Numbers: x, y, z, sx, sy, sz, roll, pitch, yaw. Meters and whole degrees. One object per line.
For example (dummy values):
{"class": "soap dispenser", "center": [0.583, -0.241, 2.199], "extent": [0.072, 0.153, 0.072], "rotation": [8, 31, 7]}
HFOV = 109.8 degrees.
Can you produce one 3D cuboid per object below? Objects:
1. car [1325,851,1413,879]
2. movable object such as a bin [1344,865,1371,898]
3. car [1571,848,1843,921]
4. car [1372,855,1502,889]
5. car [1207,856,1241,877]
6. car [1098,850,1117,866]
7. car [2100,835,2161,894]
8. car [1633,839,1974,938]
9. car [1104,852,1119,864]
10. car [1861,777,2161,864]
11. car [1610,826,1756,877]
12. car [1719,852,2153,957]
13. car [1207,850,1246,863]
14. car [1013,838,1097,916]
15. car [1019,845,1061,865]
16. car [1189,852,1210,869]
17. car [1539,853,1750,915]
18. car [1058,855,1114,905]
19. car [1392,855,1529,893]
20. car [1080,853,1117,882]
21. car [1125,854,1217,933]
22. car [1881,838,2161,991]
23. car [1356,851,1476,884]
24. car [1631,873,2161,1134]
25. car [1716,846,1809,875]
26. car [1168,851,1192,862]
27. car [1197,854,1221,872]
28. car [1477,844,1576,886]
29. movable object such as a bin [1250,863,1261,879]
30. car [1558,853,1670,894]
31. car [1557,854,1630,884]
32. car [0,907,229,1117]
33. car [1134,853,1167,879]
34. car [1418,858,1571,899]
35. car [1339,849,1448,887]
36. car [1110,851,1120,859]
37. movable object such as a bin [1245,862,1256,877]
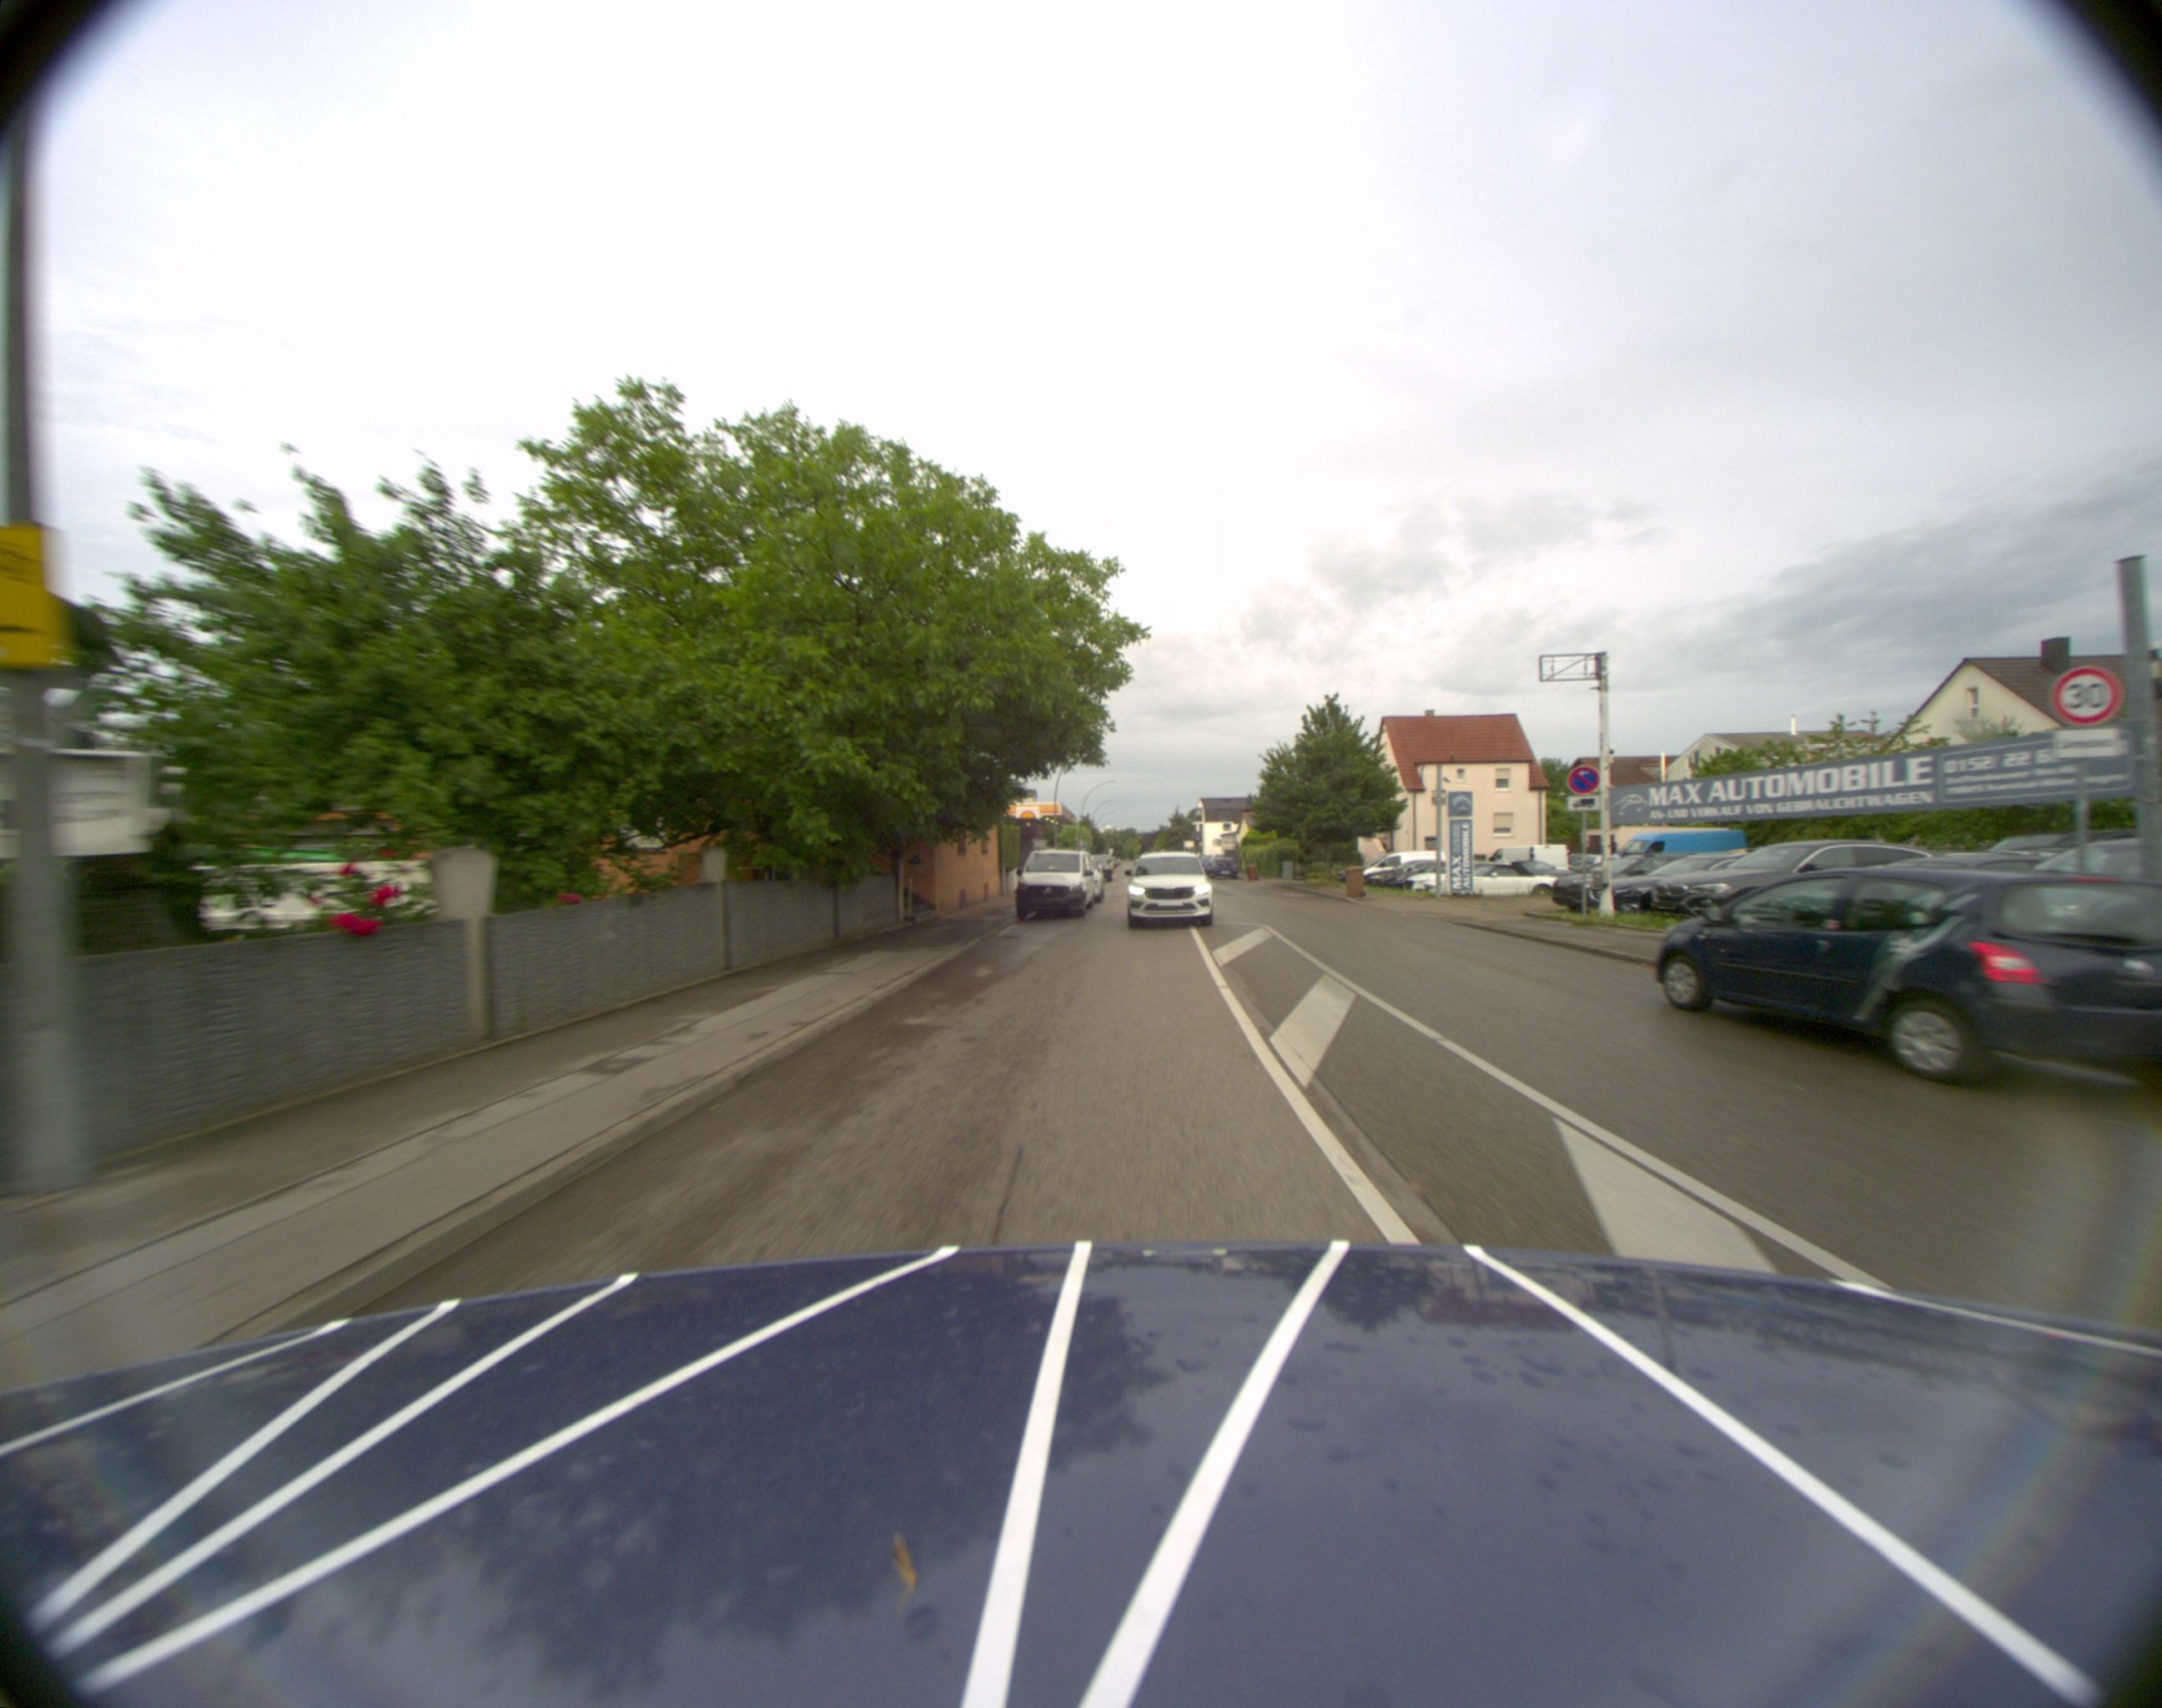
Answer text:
{"class": "car", "center": [15.027, 0.547, 39.727], "extent": [3.921, 1.364, 1.761], "rotation": [-1, 1, -1]}
{"class": "movable object such as a bin", "center": [9.855, 0.977, 27.115], "extent": [0.709, 1.123, 0.735], "rotation": [-2, 1, 4]}
{"class": "car", "center": [13.758, 0.642, 16.930], "extent": [4.357, 1.455, 1.942], "rotation": [-1, 0, 4]}
{"class": "car", "center": [14.856, 0.742, 31.898], "extent": [4.568, 1.302, 1.889], "rotation": [-1, 0, 3]}
{"class": "car", "center": [9.819, 0.845, 52.386], "extent": [1.811, 1.395, 3.945], "rotation": [0, 0, 3]}
{"class": "car", "center": [2.512, 0.385, 71.173], "extent": [1.660, 1.393, 3.802], "rotation": [-1, 0, 3]}
{"class": "car", "center": [30.394, 0.251, 20.285], "extent": [3.742, 1.562, 1.788], "rotation": [-1, 0, 5]}
{"class": "car", "center": [13.384, 0.613, 14.359], "extent": [4.357, 1.681, 2.059], "rotation": [-1, 0, 4]}
{"class": "car", "center": [4.149, 0.496, 103.810], "extent": [1.998, 1.586, 4.001], "rotation": [0, 0, 2]}
{"class": "car", "center": [18.593, -0.593, 15.369], "extent": [1.695, 1.521, 4.001], "rotation": [0, 0, 4]}
{"class": "car", "center": [30.590, -0.119, 38.775], "extent": [5.683, 2.361, 2.047], "rotation": [-2, 1, 3]}
{"class": "car", "center": [12.979, 0.730, 11.819], "extent": [4.357, 1.423, 1.960], "rotation": [-1, 0, 4]}
{"class": "car", "center": [16.784, 0.281, 87.744], "extent": [4.094, 1.505, 1.883], "rotation": [-1, 0, -1]}
{"class": "car", "center": [-0.631, 0.642, 22.515], "extent": [1.781, 2.017, 4.756], "rotation": [-2, -1, 6]}
{"class": "car", "center": [-5.142, 0.136, 95.161], "extent": [4.808, 2.506, 2.244], "rotation": [-1, 0, -18]}
{"class": "car", "center": [11.001, 0.609, 70.743], "extent": [1.612, 1.497, 3.708], "rotation": [0, 0, 3]}
{"class": "car", "center": [14.337, 0.733, 19.523], "extent": [3.996, 1.455, 1.840], "rotation": [-1, 0, 4]}
{"class": "car", "center": [0.258, 0.917, 28.700], "extent": [1.870, 1.655, 4.321], "rotation": [-2, 0, 3]}
{"class": "car", "center": [14.701, 0.770, 29.609], "extent": [4.386, 1.366, 1.889], "rotation": [-1, 0, 3]}
{"class": "car", "center": [1.170, 0.845, 48.486], "extent": [2.095, 1.652, 4.561], "rotation": [-2, -1, 4]}
{"class": "car", "center": [2.009, 0.836, 18.184], "extent": [1.883, 1.650, 4.832], "rotation": [0, 0, 3]}
{"class": "car", "center": [13.162, 0.656, 9.370], "extent": [4.357, 1.680, 1.960], "rotation": [-1, 0, 4]}
{"class": "car", "center": [15.117, 0.594, 34.441], "extent": [4.569, 1.410, 1.897], "rotation": [-1, 0, -1]}
{"class": "car", "center": [6.591, 0.930, 6.300], "extent": [1.630, 1.425, 3.685], "rotation": [-1, 0, 5]}
{"class": "car", "center": [32.736, 0.313, 36.555], "extent": [3.231, 1.325, 1.338], "rotation": [-1, 1, 1]}
{"class": "car", "center": [17.635, 0.489, 135.758], "extent": [3.997, 1.637, 2.000], "rotation": [-5, 0, 1]}
{"class": "car", "center": [10.573, 0.750, 62.754], "extent": [1.549, 1.395, 3.598], "rotation": [0, 0, 3]}
{"class": "car", "center": [21.968, 0.498, 37.745], "extent": [1.998, 1.919, 5.054], "rotation": [0, 0, 1]}
{"class": "movable object such as a bin", "center": [10.789, 1.048, 46.959], "extent": [0.541, 0.905, 0.424], "rotation": [-4, 1, 2]}
{"class": "car", "center": [19.675, 0.690, 28.173], "extent": [1.339, 1.407, 3.228], "rotation": [-1, 0, -20]}
{"class": "car", "center": [24.030, 0.658, 35.740], "extent": [1.388, 1.325, 3.116], "rotation": [-1, 0, 1]}
{"class": "car", "center": [-12.179, 1.626, 8.088], "extent": [4.132, 1.859, 2.001], "rotation": [-2, 0, 5]}
{"class": "car", "center": [4.335, 0.723, 47.826], "extent": [1.777, 1.552, 4.001], "rotation": [-2, 0, 2]}
{"class": "car", "center": [14.644, 0.855, 27.081], "extent": [4.461, 1.324, 1.771], "rotation": [-1, 1, 3]}
{"class": "car", "center": [15.204, 0.670, 37.116], "extent": [4.569, 1.780, 1.897], "rotation": [-1, 1, -1]}
{"class": "car", "center": [6.148, 0.255, 138.560], "extent": [1.755, 1.410, 4.111], "rotation": [0, 0, 3]}
{"class": "movable object such as a bin", "center": [10.601, 0.966, 47.458], "extent": [0.541, 0.905, 0.506], "rotation": [-4, 1, 2]}
